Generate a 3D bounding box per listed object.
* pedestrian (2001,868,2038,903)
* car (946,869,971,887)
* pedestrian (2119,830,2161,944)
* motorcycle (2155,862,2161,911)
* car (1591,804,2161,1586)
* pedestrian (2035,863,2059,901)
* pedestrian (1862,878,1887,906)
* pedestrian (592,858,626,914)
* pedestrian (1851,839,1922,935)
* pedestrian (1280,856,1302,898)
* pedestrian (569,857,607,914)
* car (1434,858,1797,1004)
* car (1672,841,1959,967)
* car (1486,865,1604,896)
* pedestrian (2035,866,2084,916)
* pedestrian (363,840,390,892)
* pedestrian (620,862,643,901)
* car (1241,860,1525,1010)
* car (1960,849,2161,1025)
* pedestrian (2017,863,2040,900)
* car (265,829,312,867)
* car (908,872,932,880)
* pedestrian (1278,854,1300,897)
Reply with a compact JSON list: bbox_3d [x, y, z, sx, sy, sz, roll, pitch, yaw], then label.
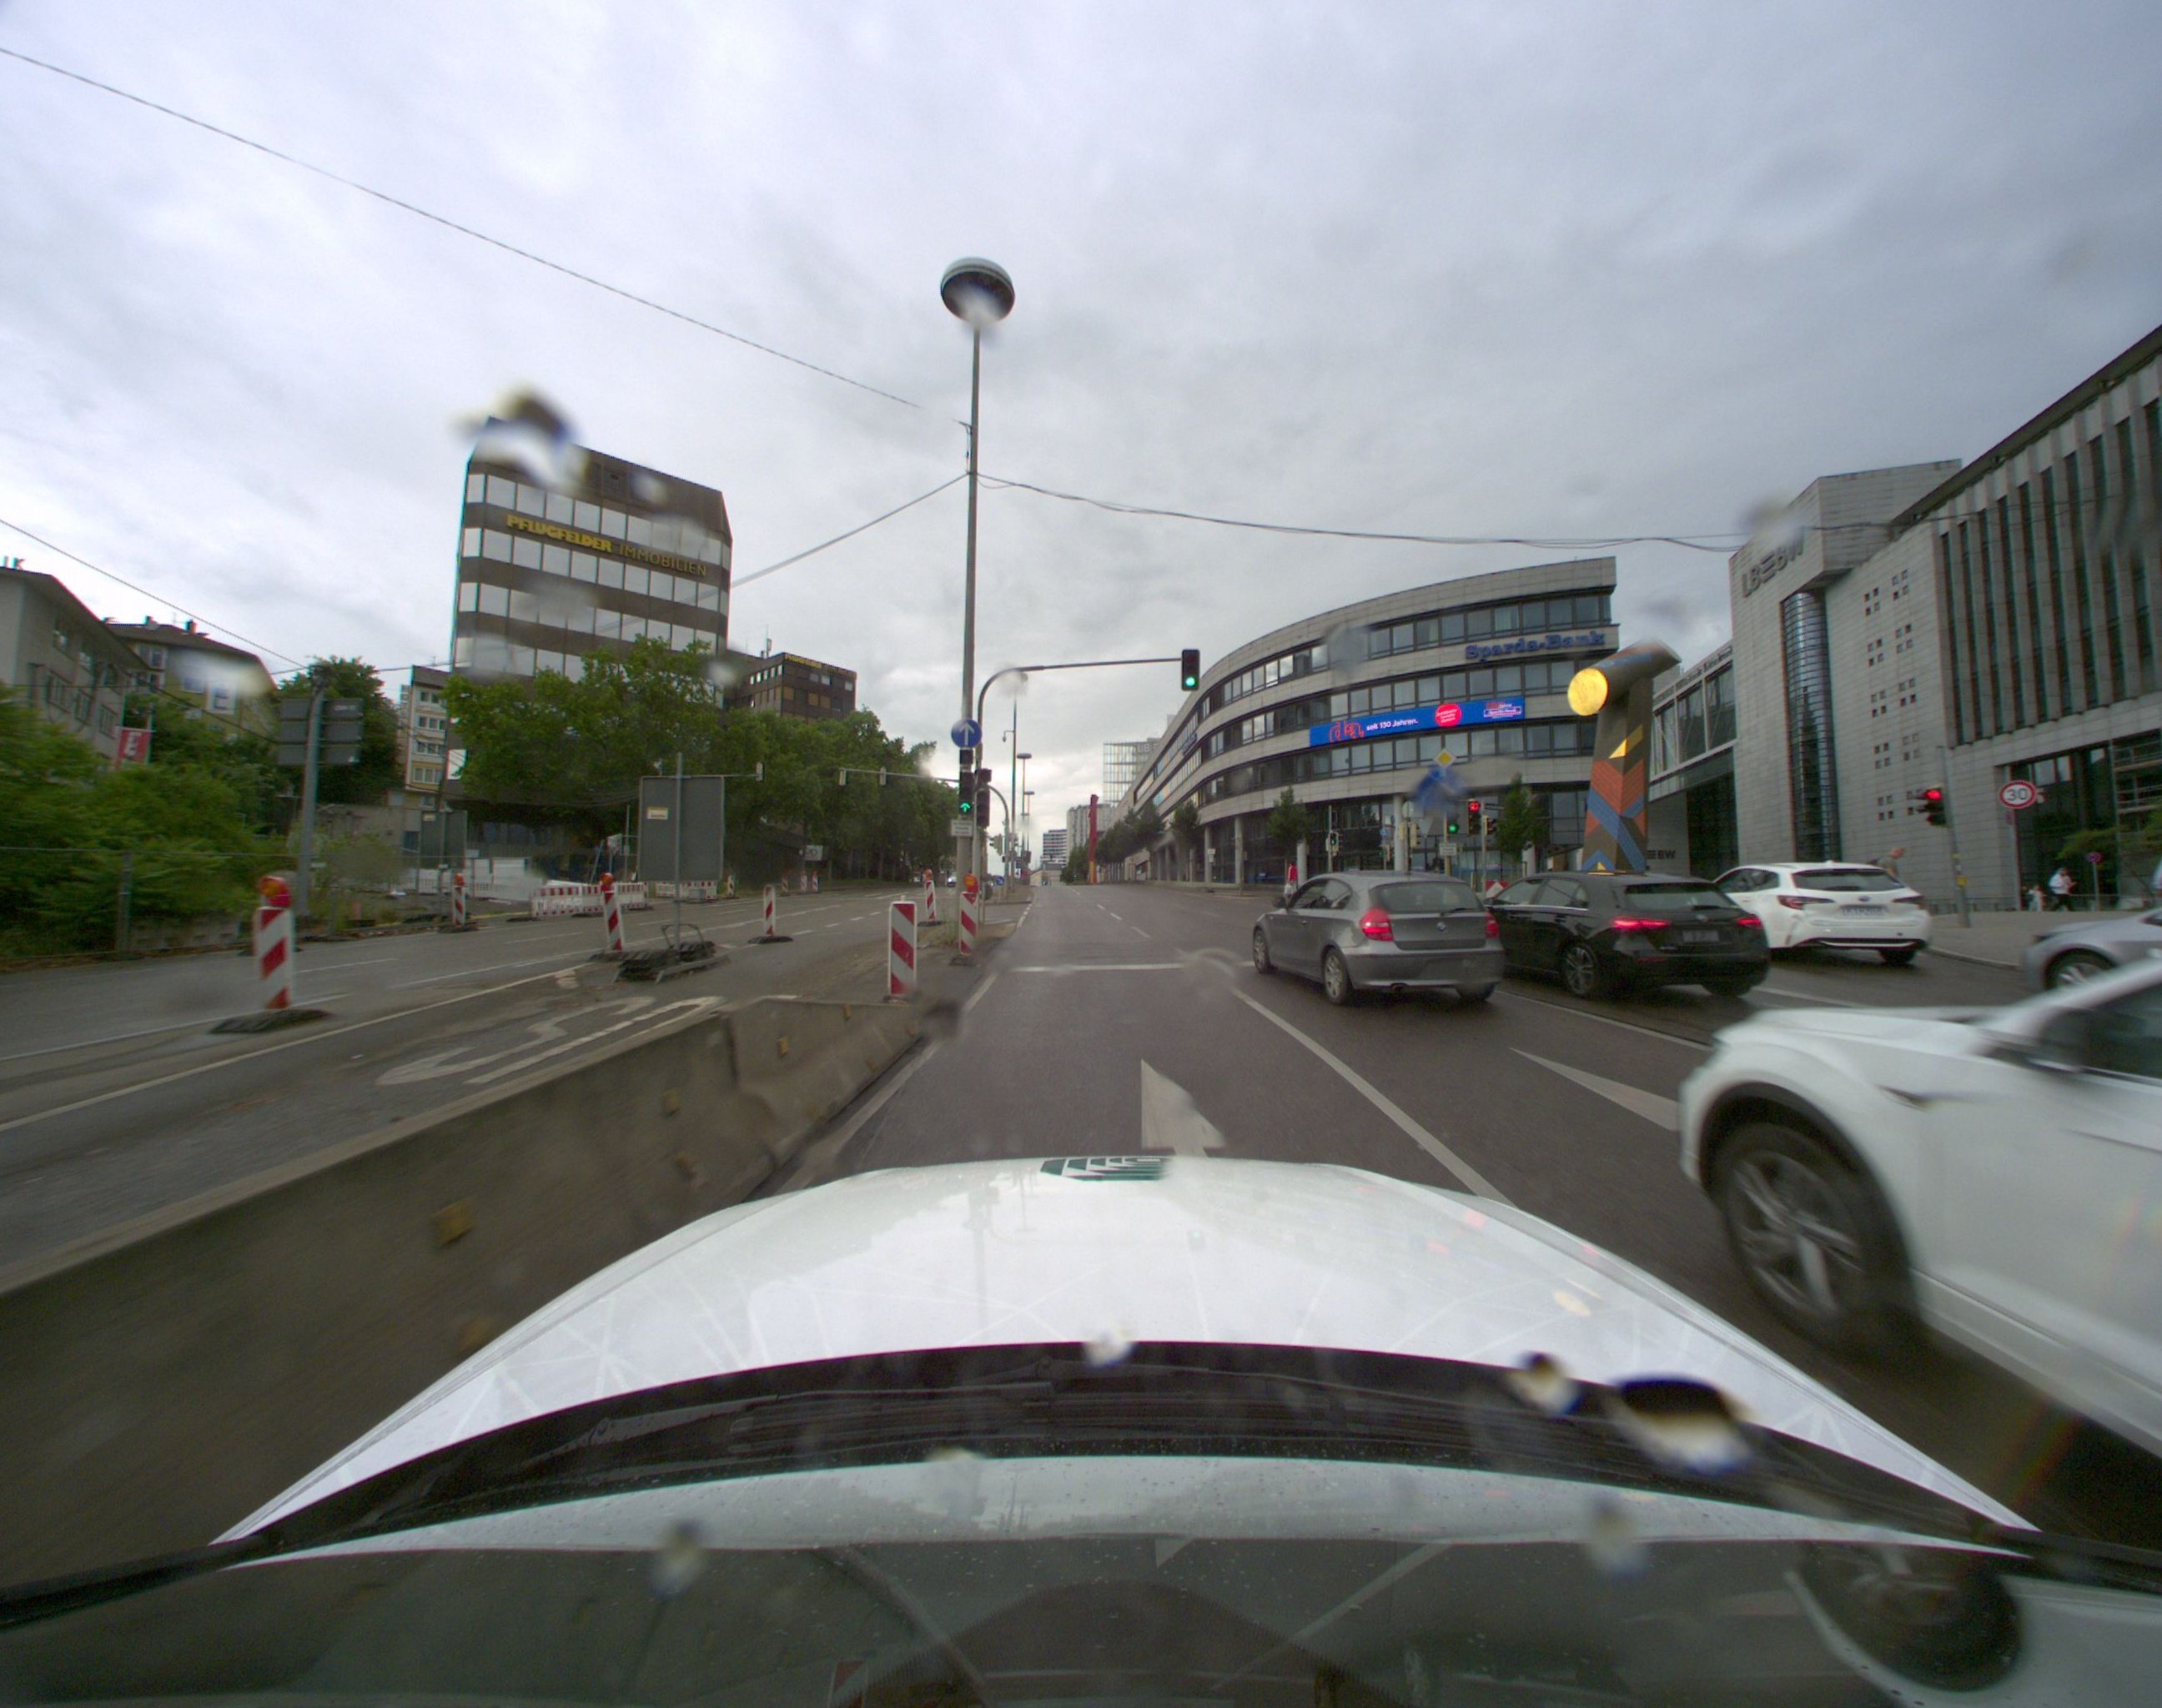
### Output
[{"bbox_3d":[47.187,1.577,40.964,0.933,1.746,0.909,0,-1,24],"label":"pedestrian"},{"bbox_3d":[-10.940,2.108,73.184,1.757,1.461,4.355,-1,-1,-3],"label":"car"},{"bbox_3d":[16.713,0.504,12.370,0.728,1.711,0.842,0,-3,-3],"label":"pedestrian"},{"bbox_3d":[25.337,0.652,18.105,2.564,1.081,0.633,-3,0,-10],"label":"motorcycle"},{"bbox_3d":[3.108,0.672,1.414,1.956,1.549,4.221,0,-1,3],"label":"car"},{"bbox_3d":[45.509,1.304,38.373,0.555,1.746,0.556,0,-1,24],"label":"pedestrian"},{"bbox_3d":[50.937,2.442,52.272,0.660,1.721,1.070,0,-1,-41],"label":"pedestrian"},{"bbox_3d":[-16.246,1.094,28.045,0.670,1.902,0.775,0,-3,0],"label":"pedestrian"},{"bbox_3d":[18.053,0.731,18.259,0.856,2.099,0.897,3,-2,-25],"label":"pedestrian"},{"bbox_3d":[9.589,1.036,37.107,0.833,1.905,0.736,-1,-2,23],"label":"pedestrian"},{"bbox_3d":[-16.987,1.089,28.087,0.758,1.923,0.742,0,-3,0],"label":"pedestrian"},{"bbox_3d":[6.192,0.823,10.153,1.749,1.407,4.226,-1,-2,0],"label":"car"},{"bbox_3d":[11.326,0.682,13.044,1.757,1.634,4.603,0,-1,19],"label":"car"},{"bbox_3d":[22.670,1.299,39.955,4.671,1.442,1.871,0,-3,9],"label":"car"},{"bbox_3d":[36.485,1.396,30.378,0.958,1.818,0.785,-2,-4,38],"label":"pedestrian"},{"bbox_3d":[-29.493,0.530,34.120,0.746,2.140,0.738,3,-4,-39],"label":"pedestrian"},{"bbox_3d":[-21.672,1.346,39.292,0.741,1.881,0.744,1,-3,-12],"label":"pedestrian"},{"bbox_3d":[3.343,0.815,9.922,1.737,1.443,3.993,0,-1,-5],"label":"car"},{"bbox_3d":[9.702,0.673,6.035,1.692,1.451,4.622,0,-2,6],"label":"car"},{"bbox_3d":[44.849,1.284,38.550,0.555,1.746,0.556,0,-1,24],"label":"pedestrian"},{"bbox_3d":[-57.128,-0.387,58.804,2.241,2.443,5.437,3,-4,-43],"label":"car"},{"bbox_3d":[-32.775,4.567,165.911,1.801,1.511,4.606,-4,-4,35],"label":"car"},{"bbox_3d":[9.276,0.969,36.311,0.833,1.905,0.866,-1,-3,24],"label":"pedestrian"}]
